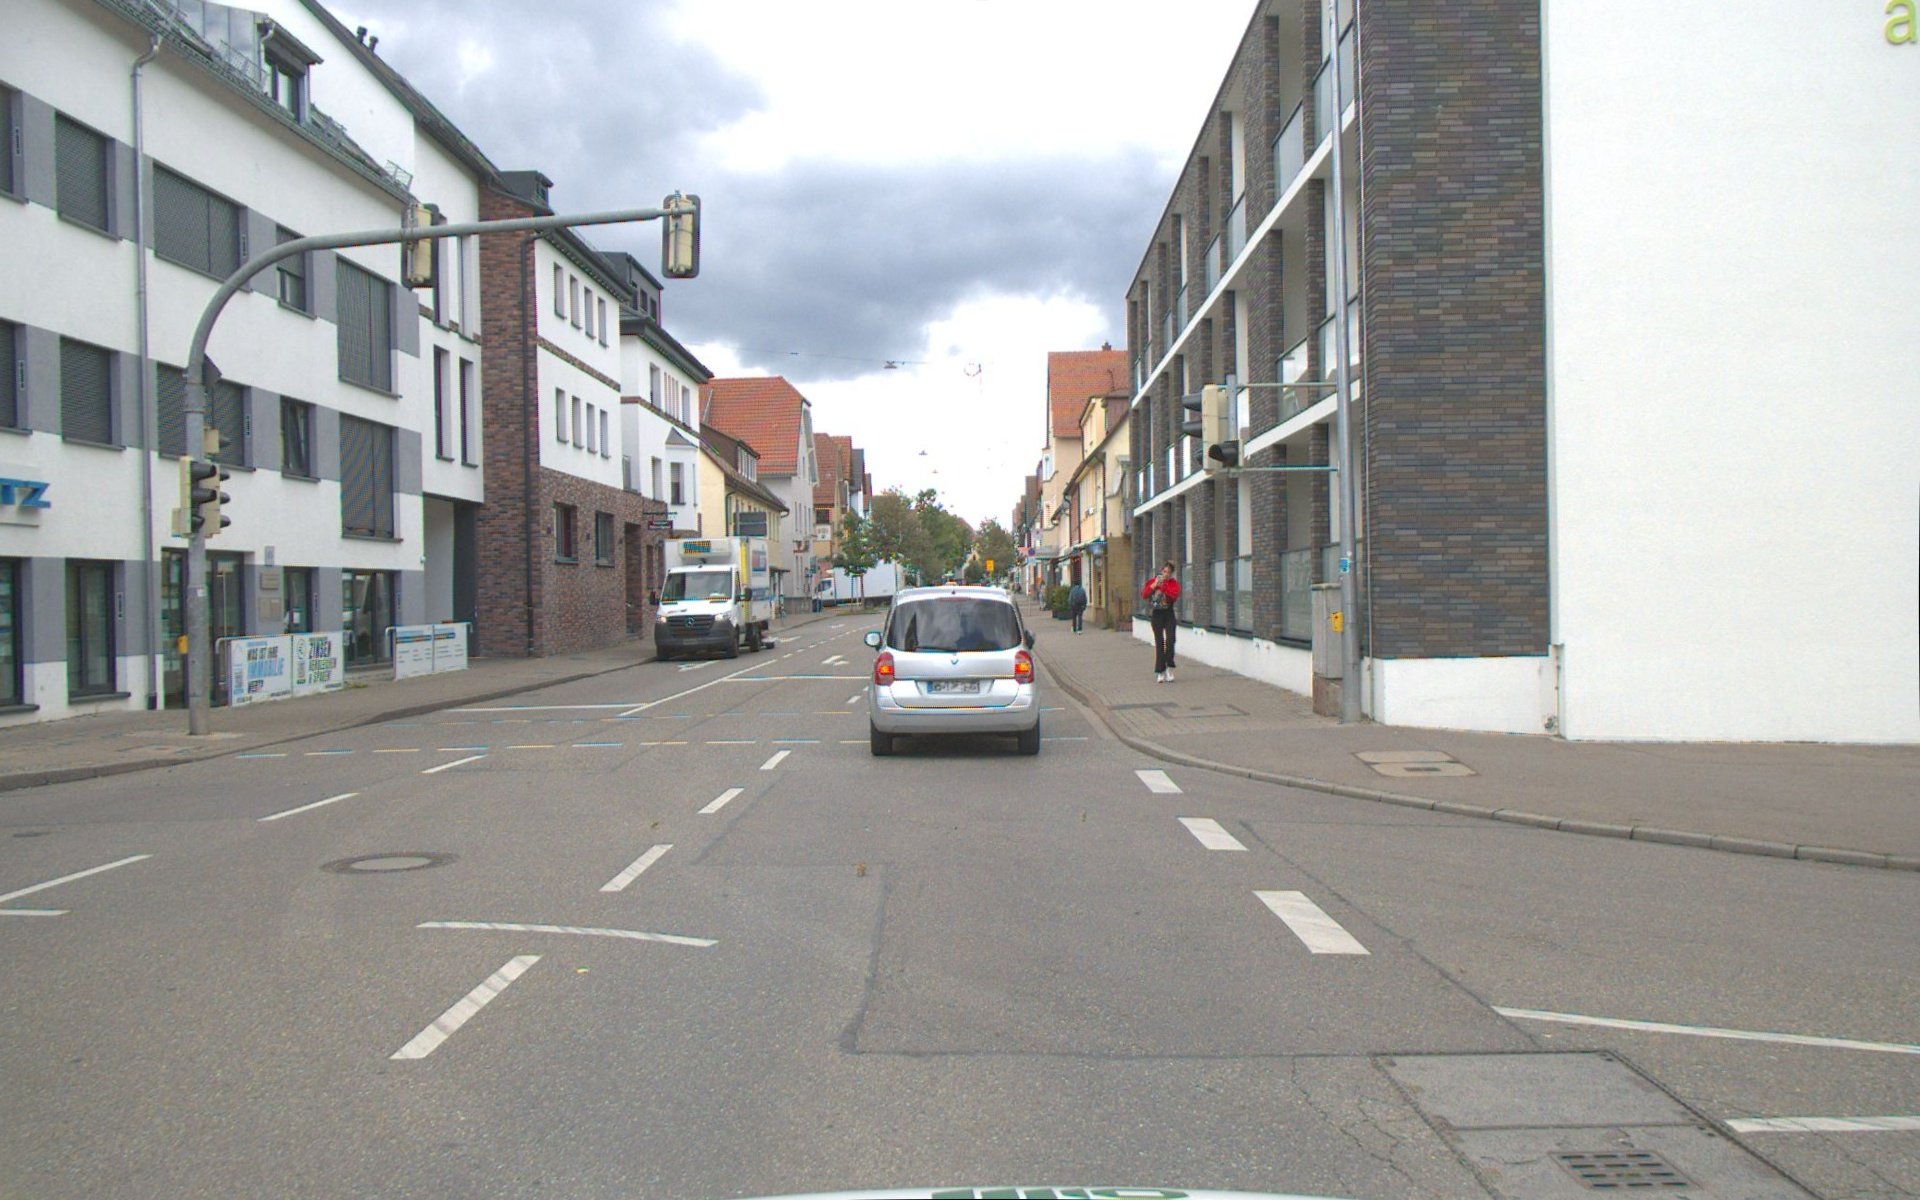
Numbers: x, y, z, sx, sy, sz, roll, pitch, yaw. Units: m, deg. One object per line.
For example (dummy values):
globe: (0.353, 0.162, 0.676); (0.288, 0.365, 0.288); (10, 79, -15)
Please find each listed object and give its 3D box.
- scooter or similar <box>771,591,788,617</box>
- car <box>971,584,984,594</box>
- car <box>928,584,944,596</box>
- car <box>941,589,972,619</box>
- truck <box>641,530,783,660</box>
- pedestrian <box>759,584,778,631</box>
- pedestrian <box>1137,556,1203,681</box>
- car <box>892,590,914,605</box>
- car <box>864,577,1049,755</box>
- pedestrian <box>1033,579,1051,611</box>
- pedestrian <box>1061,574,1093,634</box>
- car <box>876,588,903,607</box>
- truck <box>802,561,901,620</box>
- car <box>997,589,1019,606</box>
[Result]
scooter or similar: (-9.470, 0.212, 86.918); (0.563, 1.291, 2.549); (-2, 0, 1)
car: (2.491, -1.579, 236.118); (1.775, 1.377, 4.001); (-2, 0, 1)
car: (-2.826, -1.239, 197.533); (1.775, 1.377, 3.857); (-2, 0, 1)
car: (-0.174, 0.218, 92.287); (1.671, 1.606, 4.000); (1, 0, 0)
truck: (-6.319, -0.153, 43.344); (2.385, 3.005, 8.364); (-2, 0, 0)
pedestrian: (-7.390, 0.280, 63.897); (0.648, 1.787, 0.688); (1, 0, 1)
pedestrian: (3.174, 0.269, 25.090); (0.791, 1.818, 0.861); (-4, 0, 1)
car: (-5.389, -0.233, 157.027); (1.775, 1.377, 4.001); (-2, 0, 1)
car: (-0.030, 0.592, 17.090); (1.671, 1.606, 4.000); (1, 0, 0)
pedestrian: (4.716, -0.284, 95.409); (0.871, 1.818, 0.785); (-4, 0, 1)
pedestrian: (3.680, 0.108, 52.145); (0.871, 1.818, 0.785); (-4, 0, 1)
car: (-5.513, -0.218, 129.758); (1.775, 1.377, 4.001); (-2, 0, 1)
truck: (-7.516, -0.651, 115.231); (6.687, 3.925, 2.604); (-1, 0, -1)
car: (4.127, -0.243, 141.630); (1.775, 1.377, 4.001); (-2, 0, 1)
